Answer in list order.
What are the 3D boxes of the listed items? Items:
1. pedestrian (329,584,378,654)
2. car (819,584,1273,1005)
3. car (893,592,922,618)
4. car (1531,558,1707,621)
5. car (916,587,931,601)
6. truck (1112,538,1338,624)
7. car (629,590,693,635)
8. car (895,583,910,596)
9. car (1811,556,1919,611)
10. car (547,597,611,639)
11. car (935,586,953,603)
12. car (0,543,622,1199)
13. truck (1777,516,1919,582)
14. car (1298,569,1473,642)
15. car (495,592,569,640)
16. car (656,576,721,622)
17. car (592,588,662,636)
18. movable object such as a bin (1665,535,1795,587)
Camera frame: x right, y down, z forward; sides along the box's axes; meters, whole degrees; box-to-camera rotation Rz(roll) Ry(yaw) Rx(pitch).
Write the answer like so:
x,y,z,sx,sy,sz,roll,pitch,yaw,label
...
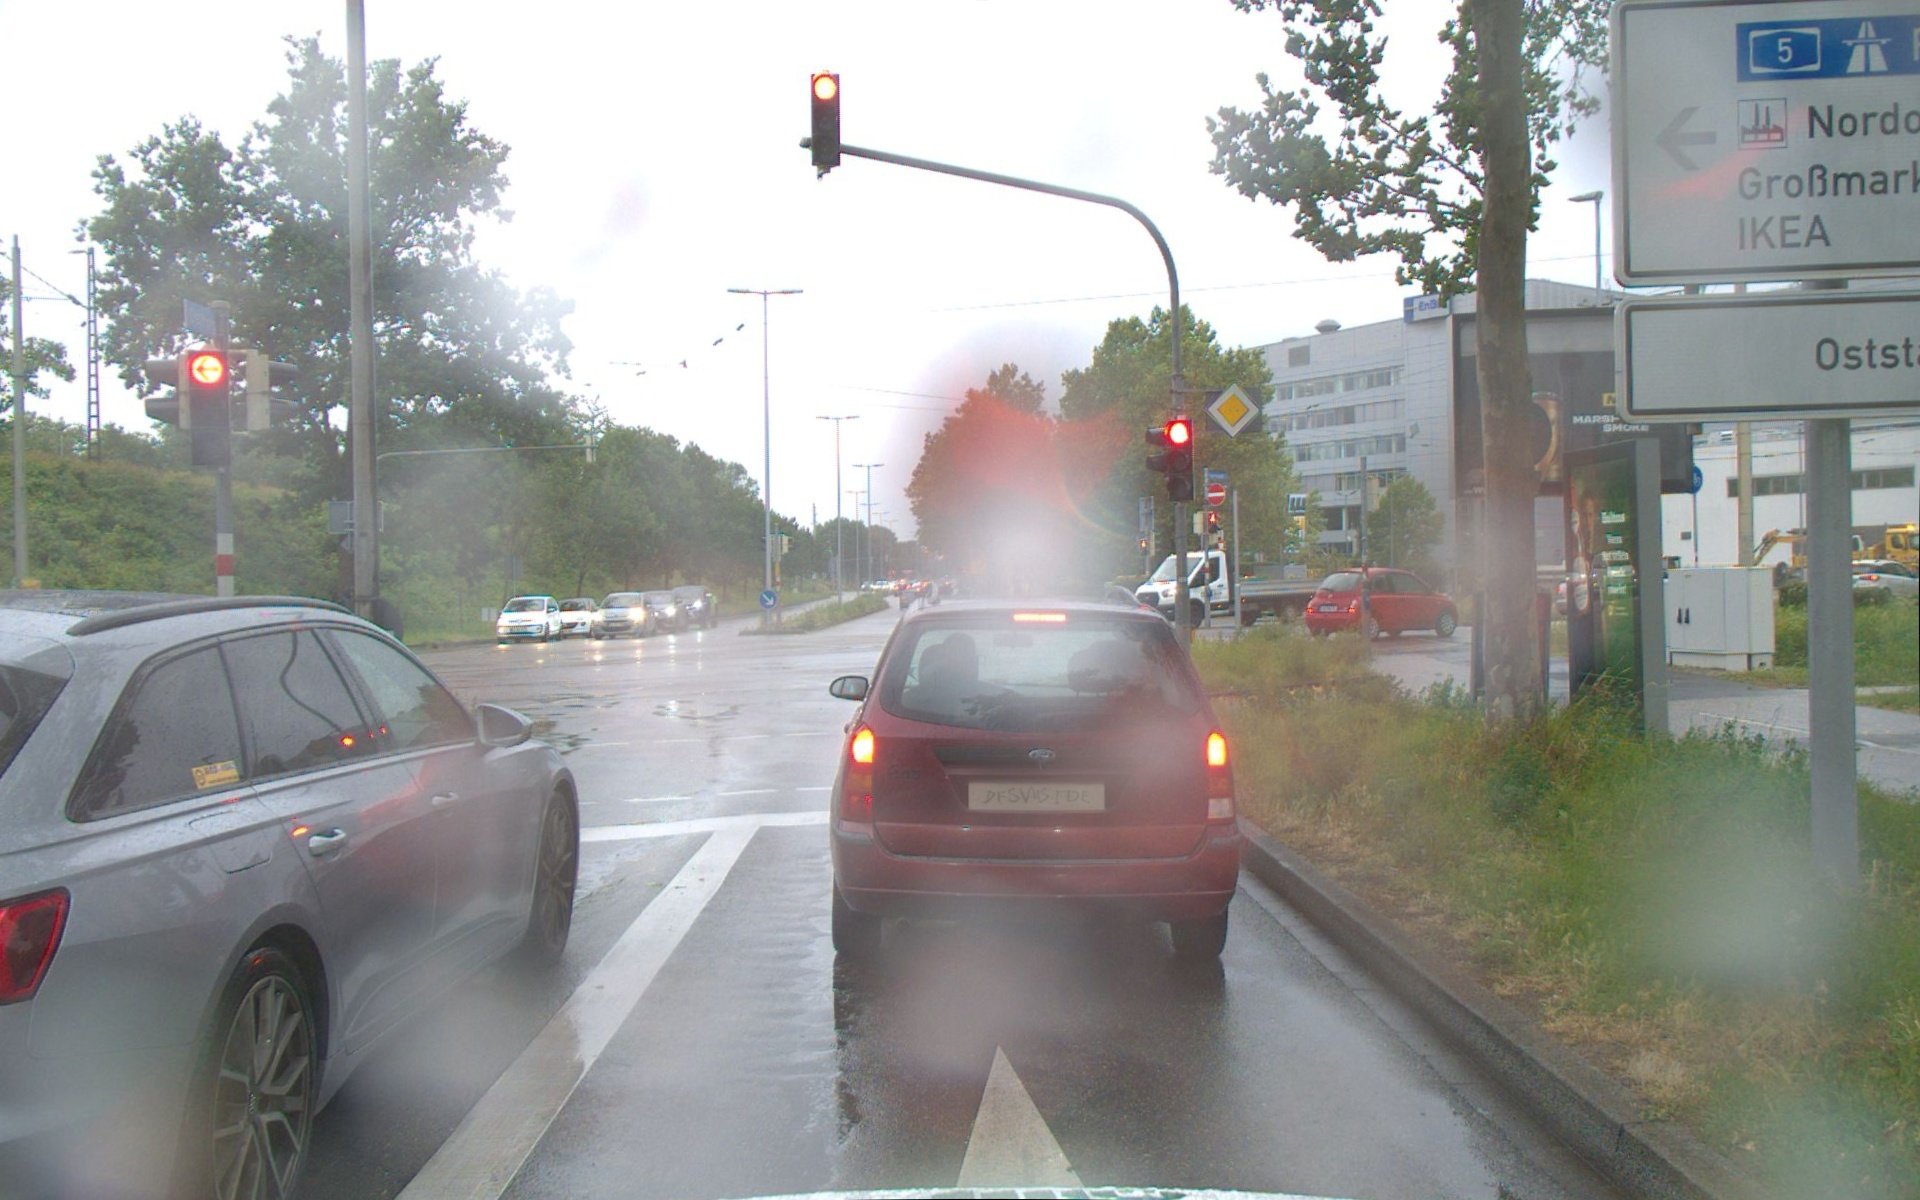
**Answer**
x,y,z,sx,sy,sz,roll,pitch,yaw,label
-16.653,0.518,45.433,1.083,1.879,1.127,-1,0,-13,pedestrian
0.256,0.683,7.787,1.609,1.490,3.731,1,0,-2,car
-3.831,0.355,120.491,1.954,1.822,3.997,1,0,-3,car
16.936,-0.284,42.407,4.774,1.517,1.904,-1,0,-35,car
-4.251,-0.729,193.933,1.663,1.554,3.846,-1,0,0,car
7.961,-0.607,49.306,6.784,2.406,2.453,-1,0,-34,truck
-11.353,0.469,63.052,1.727,1.614,4.811,-2,0,-2,car
-7.009,-1.295,202.361,1.663,1.554,3.846,-1,0,1,car
27.958,-0.511,50.262,4.575,1.614,1.902,-1,0,-37,car
-14.067,0.642,61.210,1.558,1.428,3.822,-2,1,-2,car
-1.588,-0.530,162.485,1.636,1.554,3.846,-1,0,1,car
-2.298,0.679,4.846,1.733,1.601,4.819,1,0,-2,car
52.797,-2.957,97.362,3.292,3.568,7.789,-2,0,-36,truck
9.357,0.104,36.315,3.769,1.517,1.659,0,0,-33,car
-14.166,0.501,54.882,1.605,1.478,3.785,-2,1,-3,car
-11.621,-0.053,71.123,2.024,1.851,5.539,-2,1,-2,car
-11.231,0.377,55.972,1.605,1.499,3.964,-2,1,-1,car
48.344,-2.430,103.973,3.292,3.048,6.634,-2,0,-36,movable object such as a bin
